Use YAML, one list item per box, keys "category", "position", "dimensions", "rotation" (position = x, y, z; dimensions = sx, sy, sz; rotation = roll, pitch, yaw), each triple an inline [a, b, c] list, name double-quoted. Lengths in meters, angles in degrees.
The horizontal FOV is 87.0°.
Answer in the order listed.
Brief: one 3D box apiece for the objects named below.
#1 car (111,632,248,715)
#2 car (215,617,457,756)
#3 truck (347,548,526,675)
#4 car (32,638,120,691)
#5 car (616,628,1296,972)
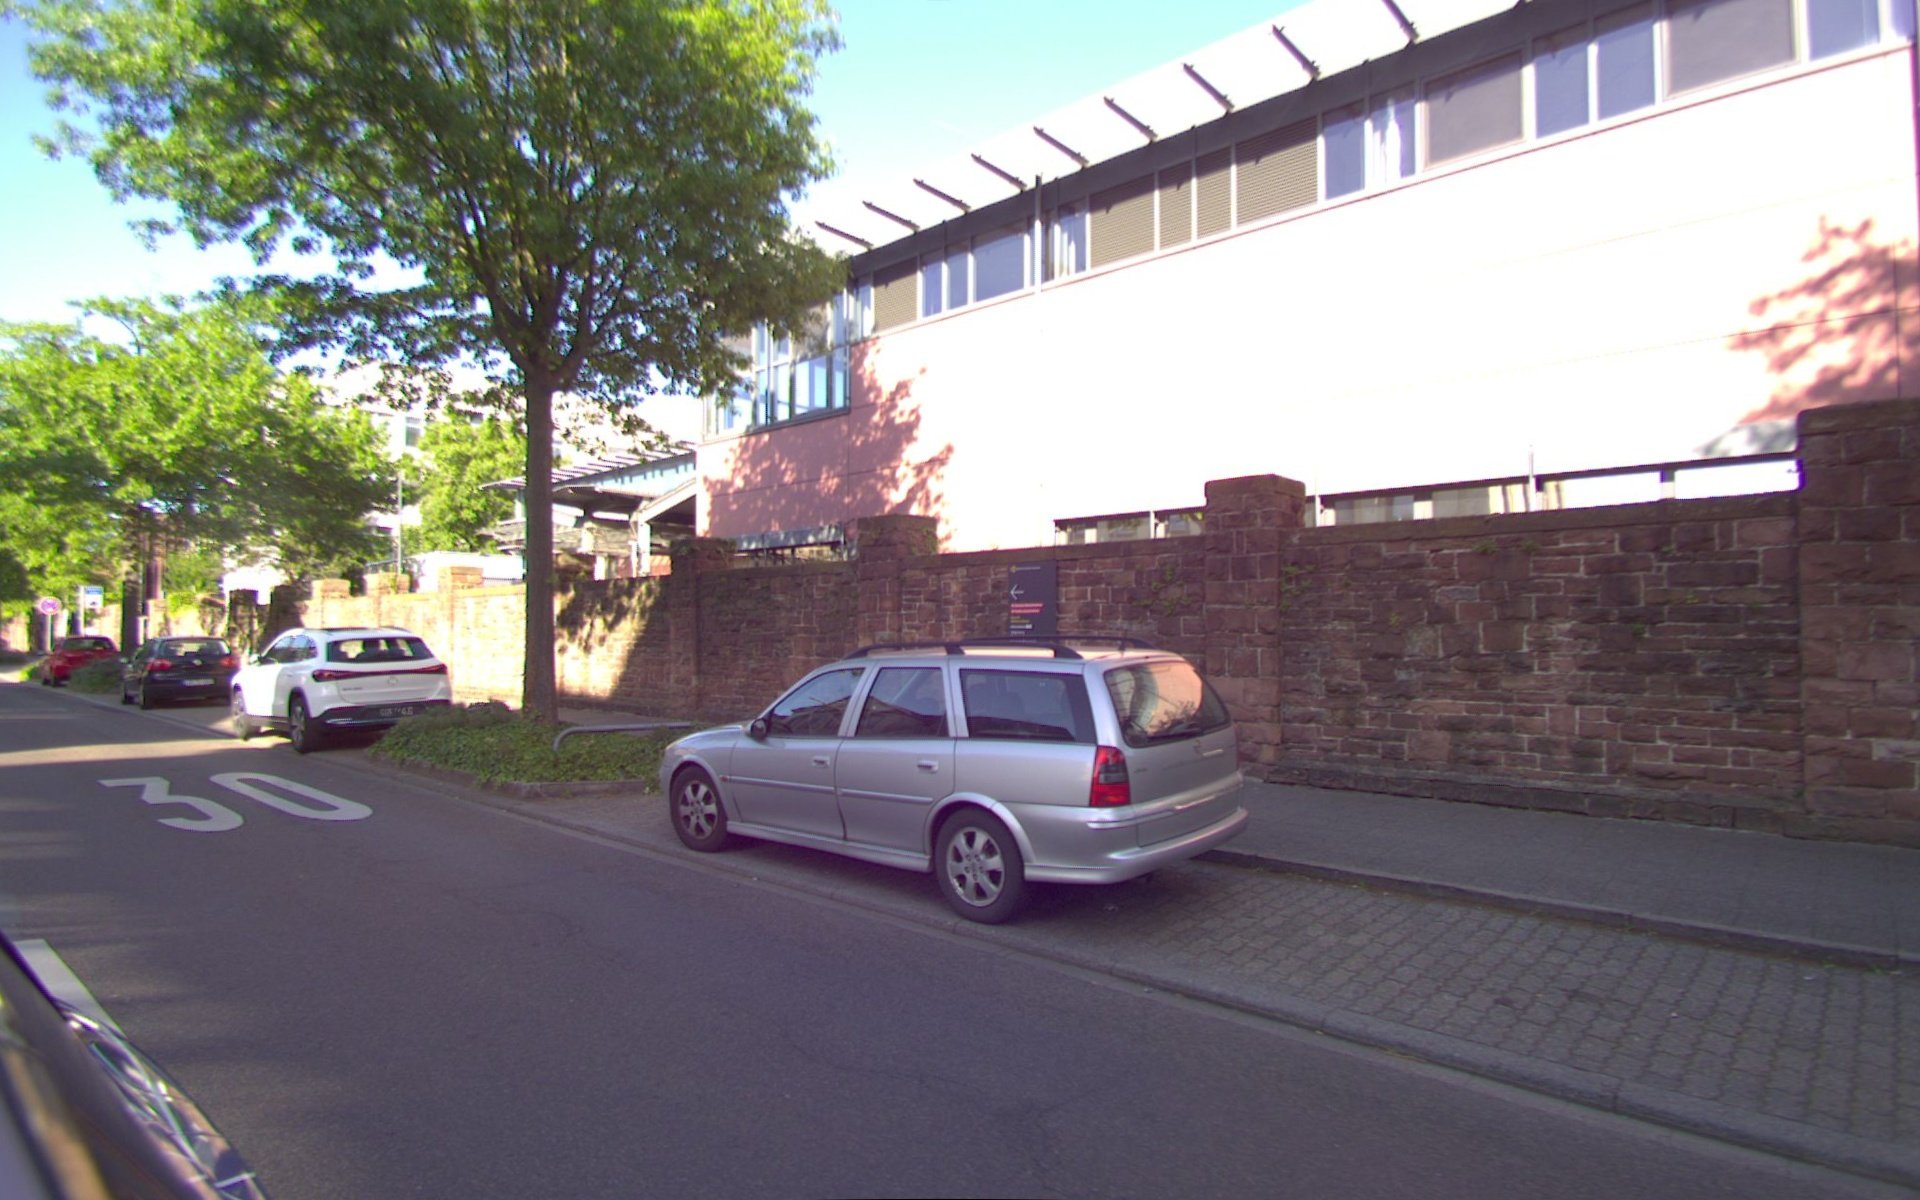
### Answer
- category: "car"
  position: [-16.875, 1.516, 21.811]
  dimensions: [4.107, 1.604, 1.718]
  rotation: [-2, -2, 43]
- category: "car"
  position: [-9.028, 1.139, 14.503]
  dimensions: [4.348, 1.696, 1.702]
  rotation: [-2, -3, 41]
- category: "truck"
  position: [-17.261, 0.416, 33.127]
  dimensions: [7.425, 3.739, 2.704]
  rotation: [-2, -1, 42]
- category: "car"
  position: [-26.843, 1.912, 30.690]
  dimensions: [3.707, 1.470, 1.591]
  rotation: [-2, -1, 42]
- category: "car"
  position: [-0.315, 0.972, 6.671]
  dimensions: [4.476, 1.487, 1.708]
  rotation: [-2, -1, 42]
